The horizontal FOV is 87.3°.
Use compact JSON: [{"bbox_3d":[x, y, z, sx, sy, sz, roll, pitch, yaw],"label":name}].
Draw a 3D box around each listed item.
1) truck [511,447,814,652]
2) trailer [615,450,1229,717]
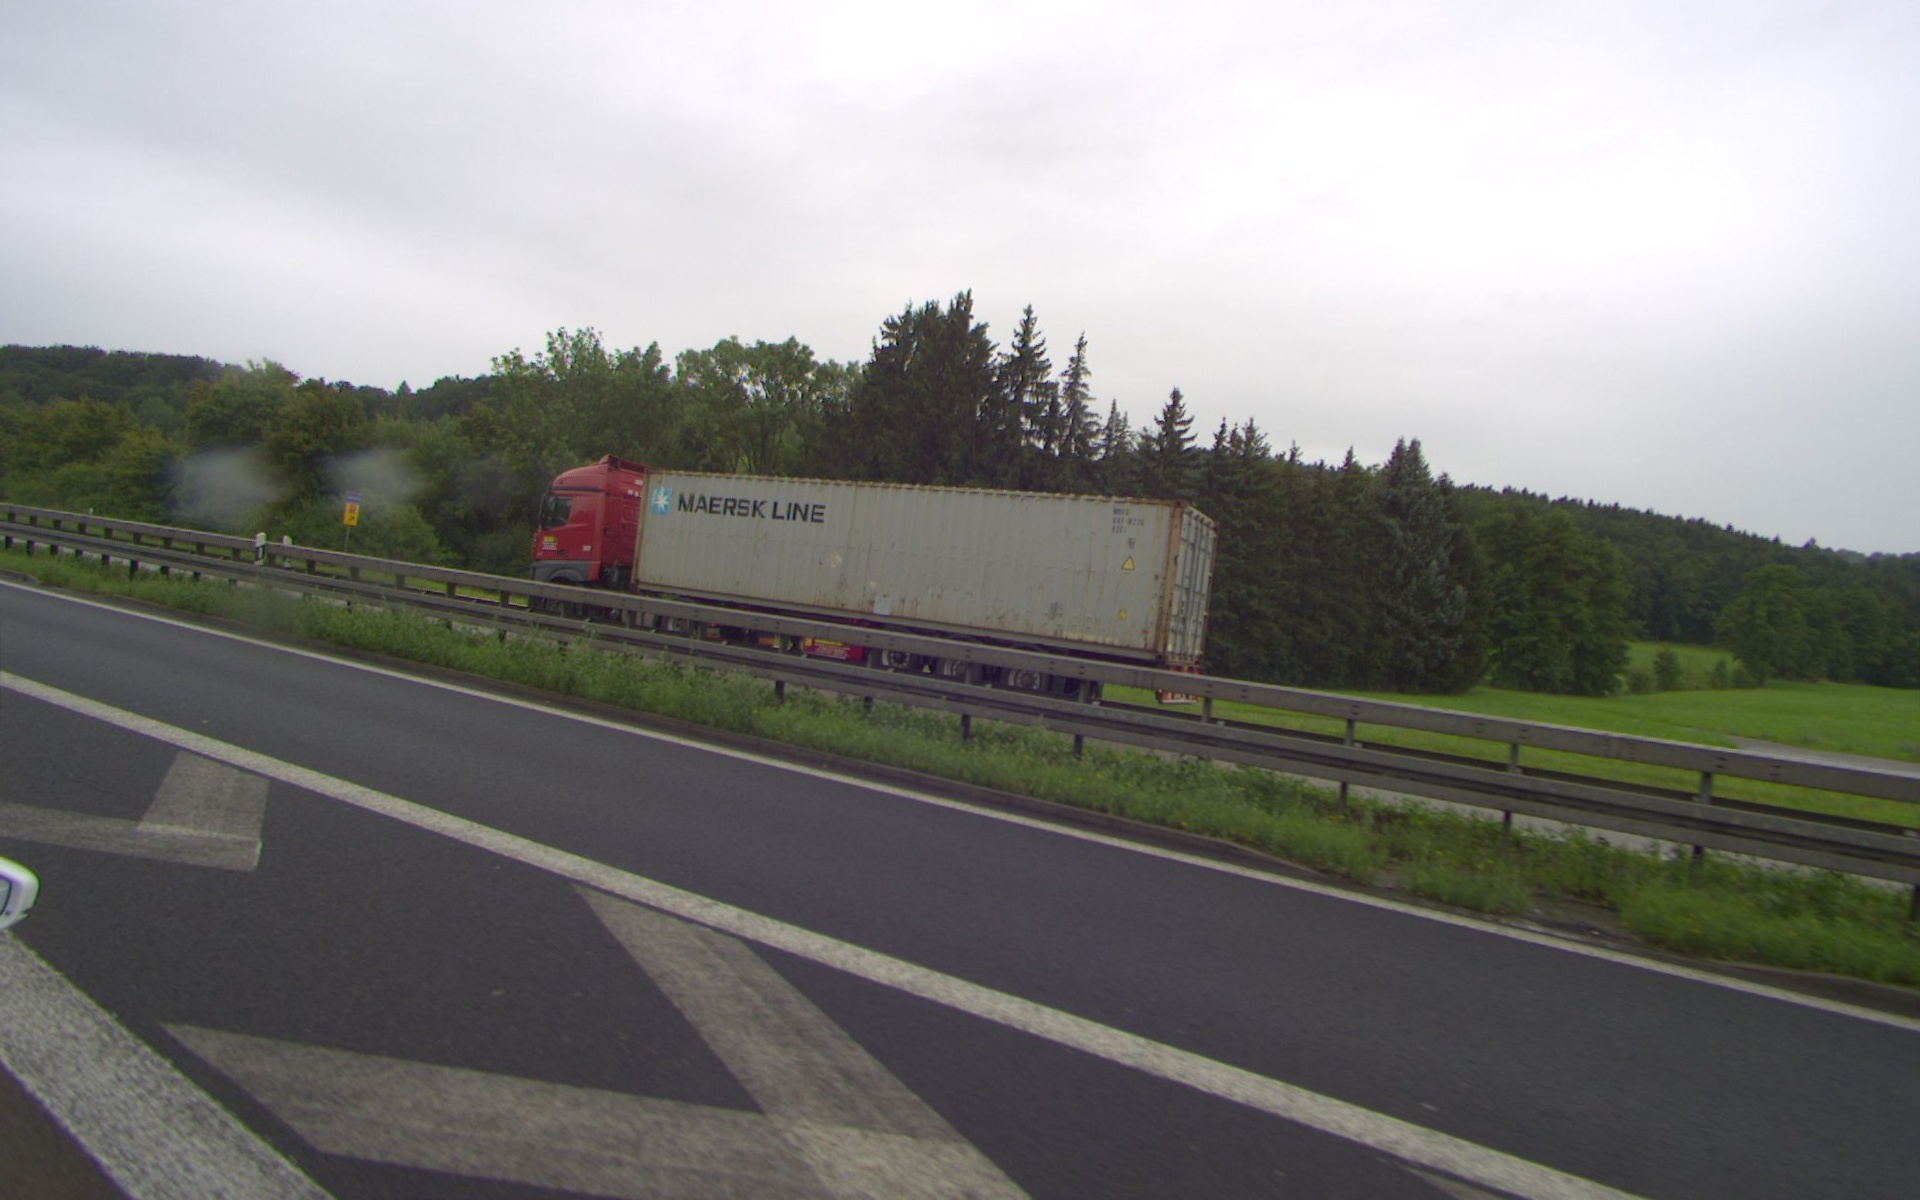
[{"bbox_3d":[-6.882,-1.200,23.101,6.281,3.930,2.622,7,-1,28],"label":"truck"},{"bbox_3d":[-1.295,-0.589,20.087,12.275,3.940,2.610,6,-1,29],"label":"trailer"}]
